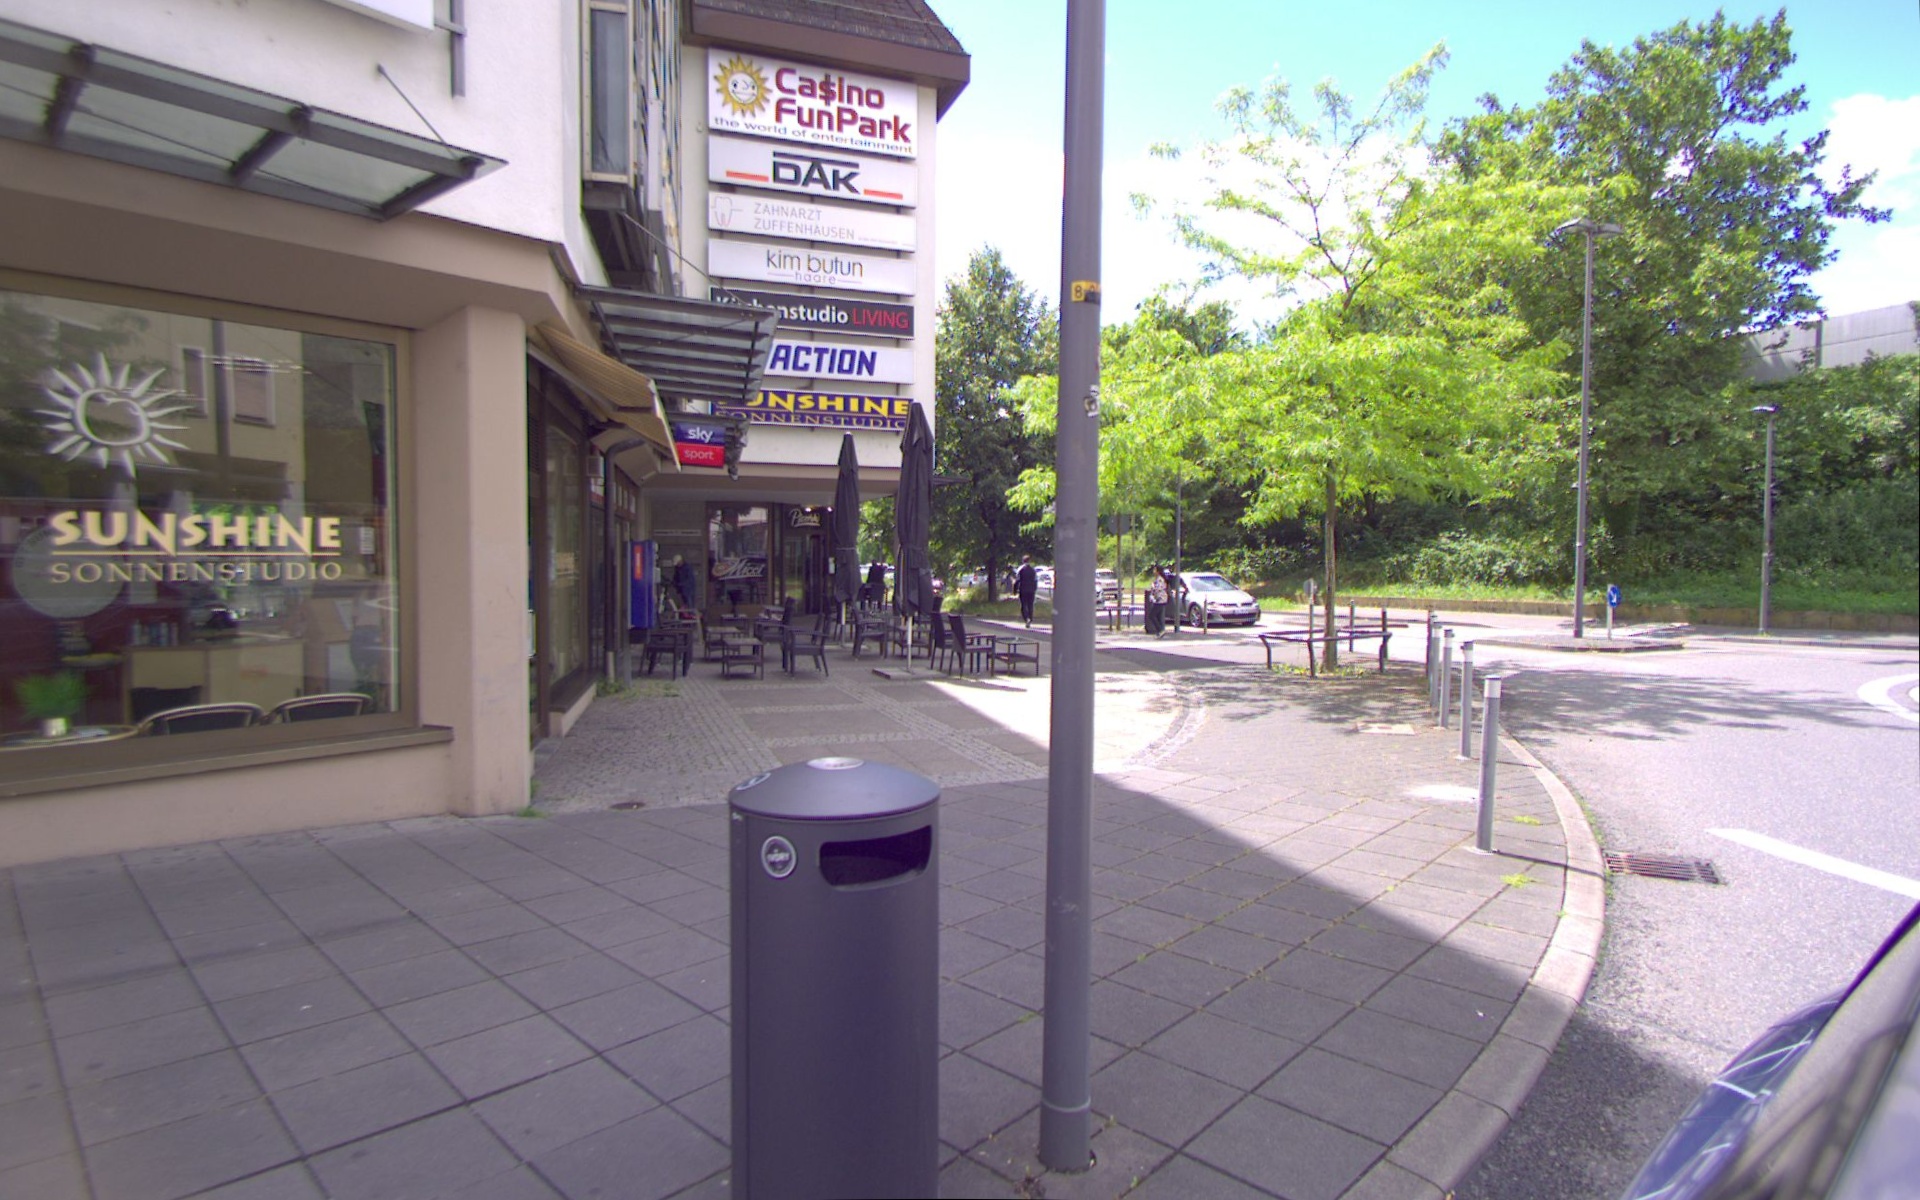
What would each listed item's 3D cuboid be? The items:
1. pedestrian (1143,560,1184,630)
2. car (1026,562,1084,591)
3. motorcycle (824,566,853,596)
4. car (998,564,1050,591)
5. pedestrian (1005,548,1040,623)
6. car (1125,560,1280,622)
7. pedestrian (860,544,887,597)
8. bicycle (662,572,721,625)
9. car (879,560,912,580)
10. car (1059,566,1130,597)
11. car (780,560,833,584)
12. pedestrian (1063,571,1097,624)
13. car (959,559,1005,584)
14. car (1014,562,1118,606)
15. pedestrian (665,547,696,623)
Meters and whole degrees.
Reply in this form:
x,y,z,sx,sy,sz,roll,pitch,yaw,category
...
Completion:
x,y,z,sx,sy,sz,roll,pitch,yaw,category
4.698,-0.130,23.354,0.771,1.573,0.759,1,1,26,pedestrian
5.074,-1.264,54.668,1.894,1.504,4.009,0,1,-14,car
-5.435,-0.873,45.242,0.840,1.307,2.192,-1,2,-19,motorcycle
3.698,-1.349,59.130,1.894,1.504,4.009,0,2,-14,car
1.565,-0.370,25.389,0.683,1.841,0.619,0,2,-16,pedestrian
6.674,-0.302,28.400,1.958,1.526,4.595,-2,2,-21,car
-2.840,-0.965,33.315,0.605,1.695,0.698,0,1,-34,pedestrian
-6.184,-0.050,23.341,0.490,1.183,1.532,0,0,22,bicycle
-5.117,-2.344,79.988,1.894,1.504,4.009,0,1,-14,car
6.411,-0.938,48.760,1.721,1.346,4.009,-3,3,-19,car
-10.242,-1.858,67.308,1.960,1.527,4.590,0,1,-30,car
3.018,-0.072,25.509,0.683,1.301,0.618,0,1,-9,pedestrian
1.344,-1.787,63.730,1.894,1.504,4.009,0,1,-14,car
3.880,-0.621,37.929,1.958,1.526,4.595,-2,2,-22,car
-6.377,-0.342,23.060,0.604,1.695,0.699,0,1,-22,pedestrian
